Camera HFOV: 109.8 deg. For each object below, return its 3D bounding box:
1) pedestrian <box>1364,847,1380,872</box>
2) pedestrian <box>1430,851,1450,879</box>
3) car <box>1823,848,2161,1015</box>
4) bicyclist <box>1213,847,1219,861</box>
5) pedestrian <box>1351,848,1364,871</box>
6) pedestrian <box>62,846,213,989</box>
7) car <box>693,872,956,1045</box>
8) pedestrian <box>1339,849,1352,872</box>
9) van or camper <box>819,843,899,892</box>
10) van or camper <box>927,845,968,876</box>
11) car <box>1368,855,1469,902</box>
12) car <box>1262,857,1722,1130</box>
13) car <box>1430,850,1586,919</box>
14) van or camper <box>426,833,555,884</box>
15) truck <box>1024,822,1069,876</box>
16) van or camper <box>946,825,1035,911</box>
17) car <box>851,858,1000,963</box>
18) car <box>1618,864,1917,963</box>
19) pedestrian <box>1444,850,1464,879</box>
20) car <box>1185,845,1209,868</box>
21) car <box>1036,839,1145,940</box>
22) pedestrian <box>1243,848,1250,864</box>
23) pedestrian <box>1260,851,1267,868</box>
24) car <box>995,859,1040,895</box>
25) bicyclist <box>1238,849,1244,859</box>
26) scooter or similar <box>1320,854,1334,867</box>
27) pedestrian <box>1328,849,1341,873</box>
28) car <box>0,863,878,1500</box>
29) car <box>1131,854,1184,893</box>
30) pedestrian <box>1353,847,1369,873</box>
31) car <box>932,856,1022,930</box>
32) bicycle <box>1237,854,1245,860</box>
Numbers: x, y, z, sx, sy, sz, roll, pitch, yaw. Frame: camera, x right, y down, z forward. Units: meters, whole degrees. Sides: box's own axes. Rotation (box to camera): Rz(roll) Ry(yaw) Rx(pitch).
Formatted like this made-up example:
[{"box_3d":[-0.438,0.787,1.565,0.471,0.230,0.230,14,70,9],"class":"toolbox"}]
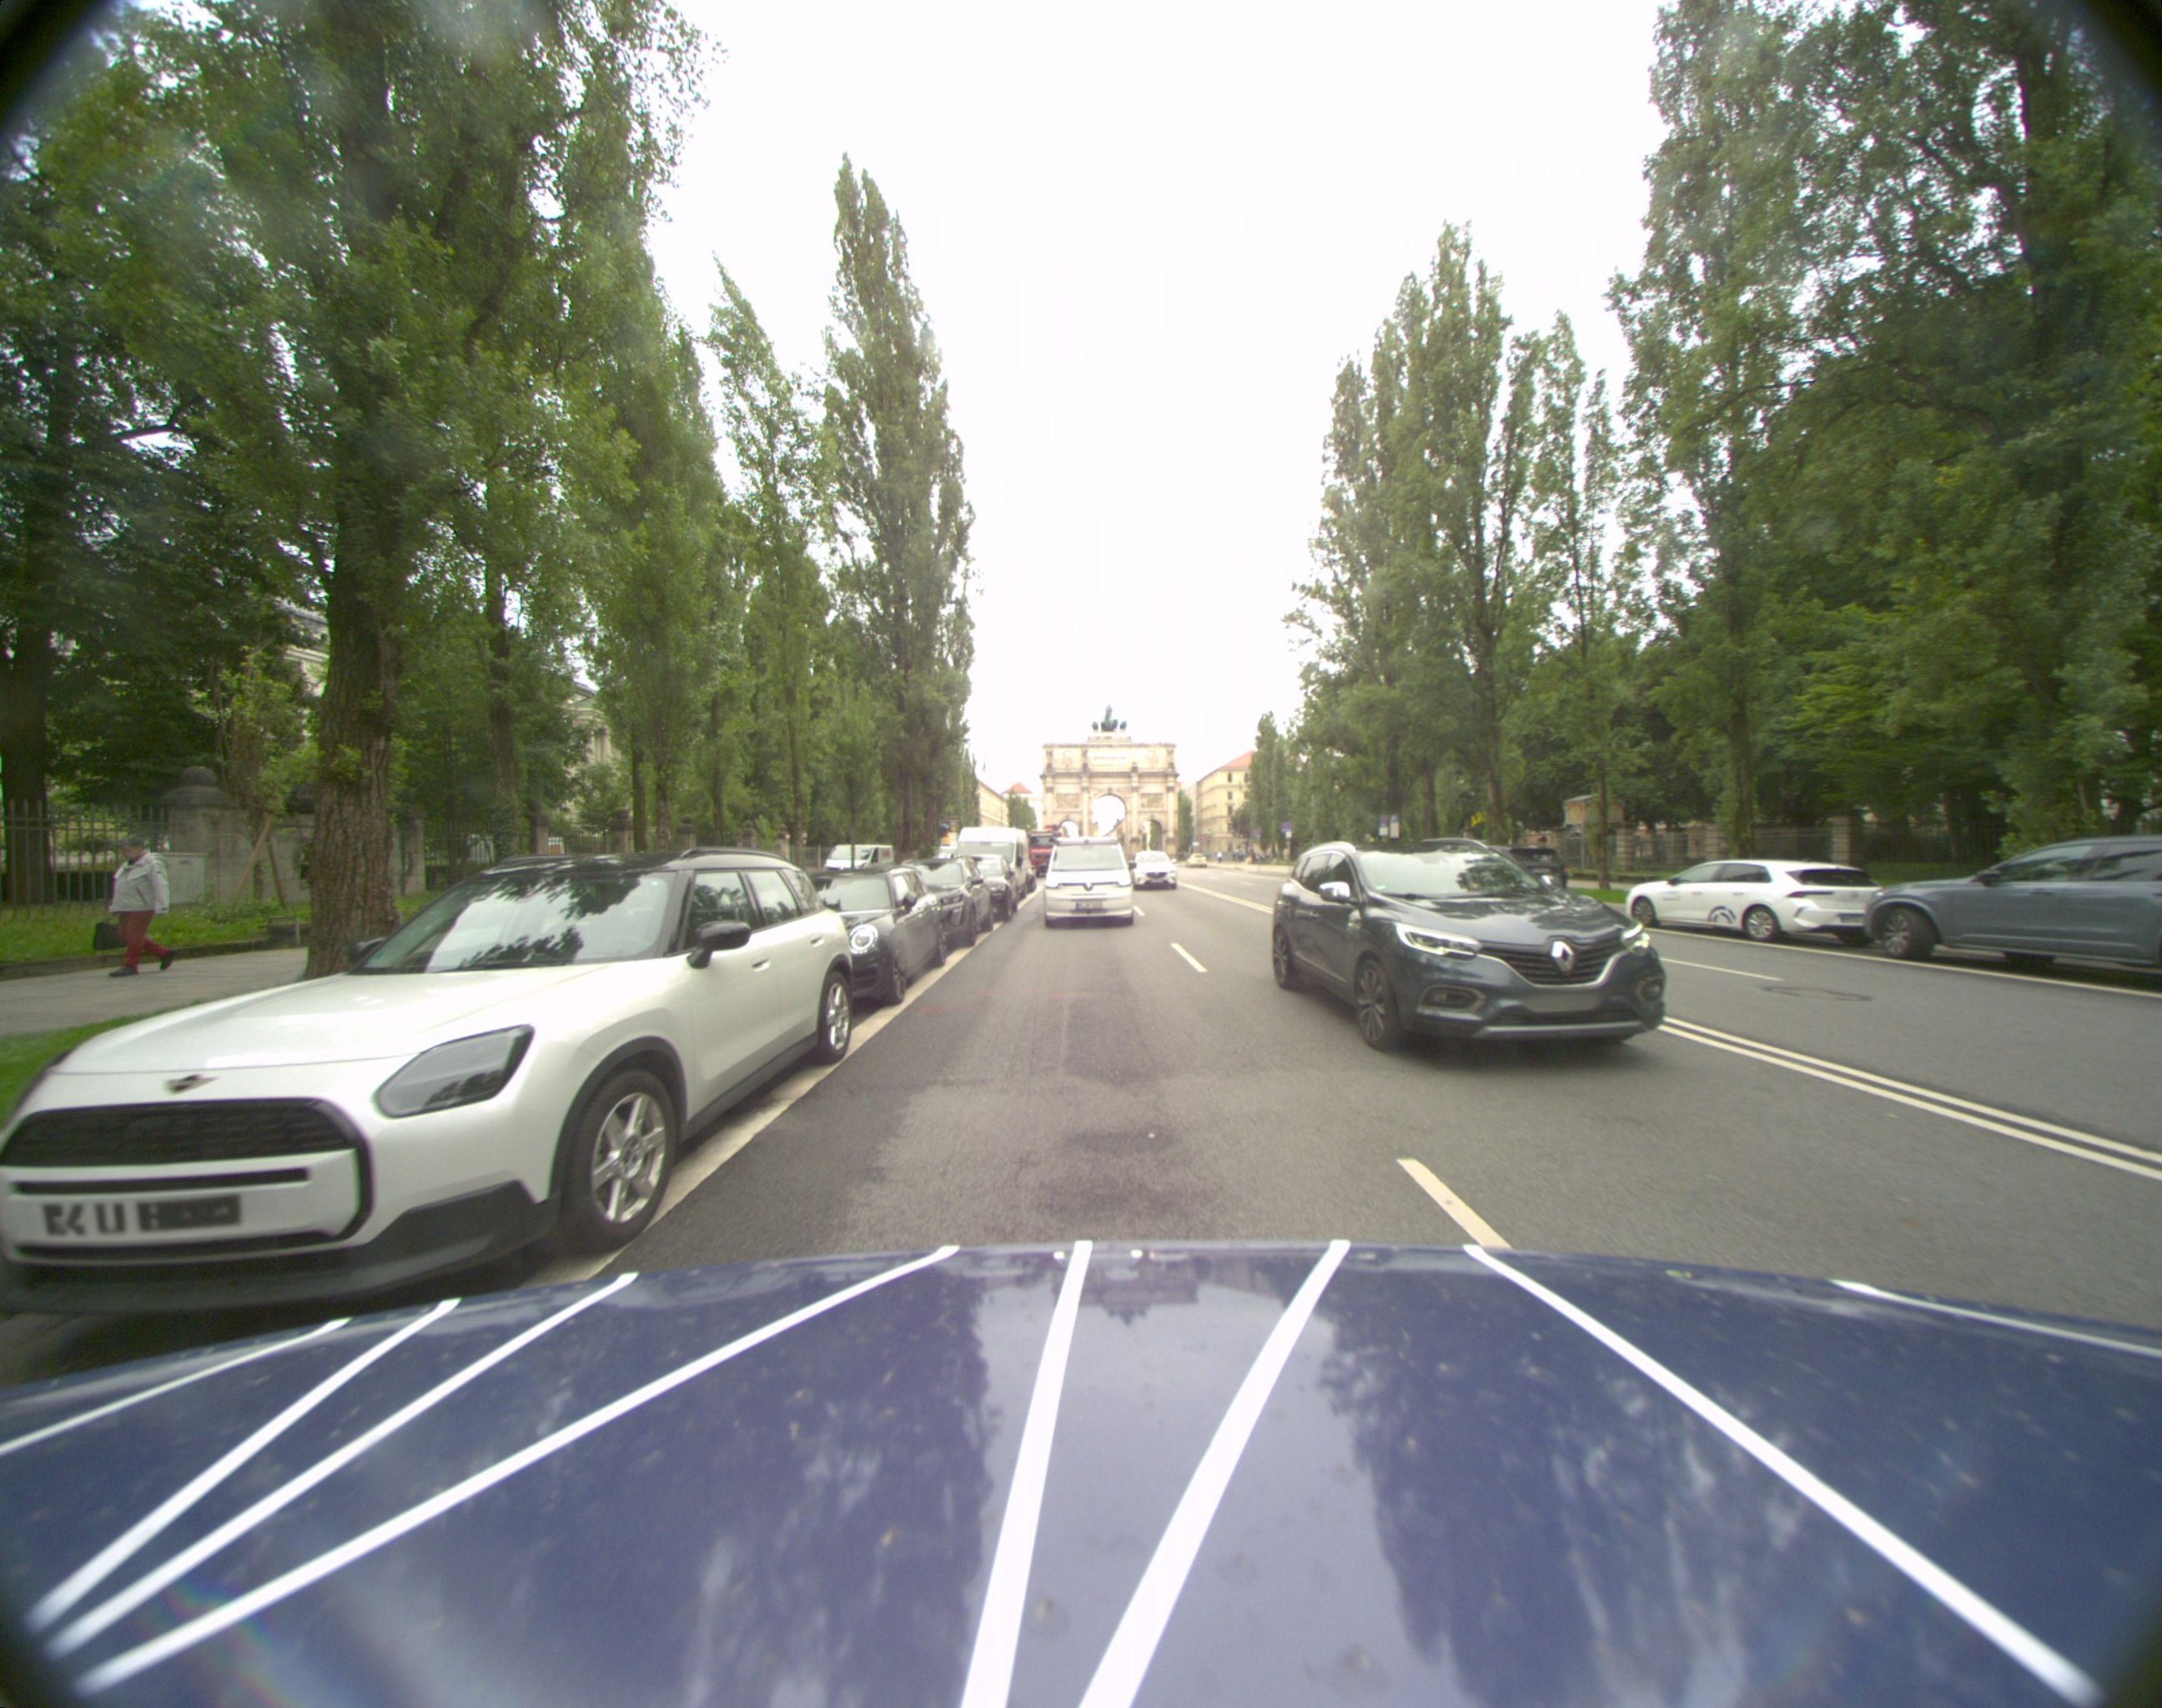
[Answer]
[{"box_3d":[20.722,0.384,54.197,0.711,1.762,1.093,-1,1,0],"class":"pedestrian"},{"box_3d":[20.185,0.626,42.716,0.720,1.539,0.875,0,1,-1],"class":"pedestrian"},{"box_3d":[12.514,0.855,9.204,1.914,1.779,5.179,2,0,0],"class":"car"},{"box_3d":[18.809,0.011,105.726,0.591,1.812,0.661,-2,1,-1],"class":"bicyclist"},{"box_3d":[20.608,0.398,56.641,0.661,1.706,0.911,0,0,0],"class":"pedestrian"},{"box_3d":[-12.112,0.782,9.792,0.797,1.758,0.895,0,1,3],"class":"pedestrian"},{"box_3d":[-2.754,1.036,9.270,1.707,1.511,4.295,0,0,0],"class":"car"},{"box_3d":[19.635,0.469,56.436,0.689,1.690,0.885,0,0,0],"class":"pedestrian"},{"box_3d":[-9.578,0.535,33.215,1.980,1.922,5.038,-1,0,0],"class":"van or camper"},{"box_3d":[-9.178,0.407,52.700,2.009,2.002,4.985,-1,0,-1],"class":"van or camper"},{"box_3d":[12.763,0.879,29.087,1.949,1.574,4.389,1,0,1],"class":"car"},{"box_3d":[2.981,0.856,6.691,1.840,1.576,4.185,-2,0,1],"class":"car"},{"box_3d":[12.565,0.800,22.801,2.051,1.776,4.800,2,0,2],"class":"car"},{"box_3d":[-31.955,0.246,41.247,5.222,2.690,2.249,0,0,0],"class":"van or camper"},{"box_3d":[-2.389,-0.316,55.958,2.852,3.543,10.278,-1,0,0],"class":"truck"},{"box_3d":[-2.882,0.410,25.735,2.144,2.525,6.417,0,0,1],"class":"van or camper"},{"box_3d":[-2.673,0.895,14.165,1.788,1.608,4.638,0,0,0],"class":"car"},{"box_3d":[12.465,0.978,14.266,1.708,1.450,4.272,2,0,0],"class":"car"},{"box_3d":[20.962,0.570,42.729,0.720,1.595,0.813,0,1,-1],"class":"pedestrian"},{"box_3d":[12.301,0.235,80.754,1.797,1.332,4.456,0,15,-1],"class":"car"},{"box_3d":[0.240,0.676,17.541,2.064,1.916,5.728,-1,0,1],"class":"car"},{"box_3d":[18.146,0.191,83.232,0.533,1.720,0.583,0,1,-11],"class":"pedestrian"},{"box_3d":[18.836,0.542,78.349,0.533,1.720,0.583,0,1,-11],"class":"pedestrian"},{"box_3d":[-2.670,0.945,32.748,1.680,1.412,3.999,0,0,-1],"class":"car"},{"box_3d":[24.417,0.005,116.071,0.647,1.583,0.661,-2,1,-1],"class":"bicyclist"},{"box_3d":[22.160,0.606,68.428,0.747,1.171,1.416,1,0,-4],"class":"scooter or similar"},{"box_3d":[18.856,0.527,56.527,0.631,1.737,0.908,0,0,0],"class":"pedestrian"},{"box_3d":[-2.672,0.914,4.336,1.747,1.665,4.579,0,0,0],"class":"car"},{"box_3d":[3.119,0.785,31.757,1.909,1.516,4.009,0,0,2],"class":"car"},{"box_3d":[19.978,0.451,54.187,0.711,1.823,1.093,0,1,0],"class":"pedestrian"},{"box_3d":[-2.525,0.885,19.409,1.789,1.639,4.417,0,0,-2],"class":"car"},{"box_3d":[24.439,0.434,116.034,0.674,0.947,1.913,-2,0,0],"class":"bicycle"}]
